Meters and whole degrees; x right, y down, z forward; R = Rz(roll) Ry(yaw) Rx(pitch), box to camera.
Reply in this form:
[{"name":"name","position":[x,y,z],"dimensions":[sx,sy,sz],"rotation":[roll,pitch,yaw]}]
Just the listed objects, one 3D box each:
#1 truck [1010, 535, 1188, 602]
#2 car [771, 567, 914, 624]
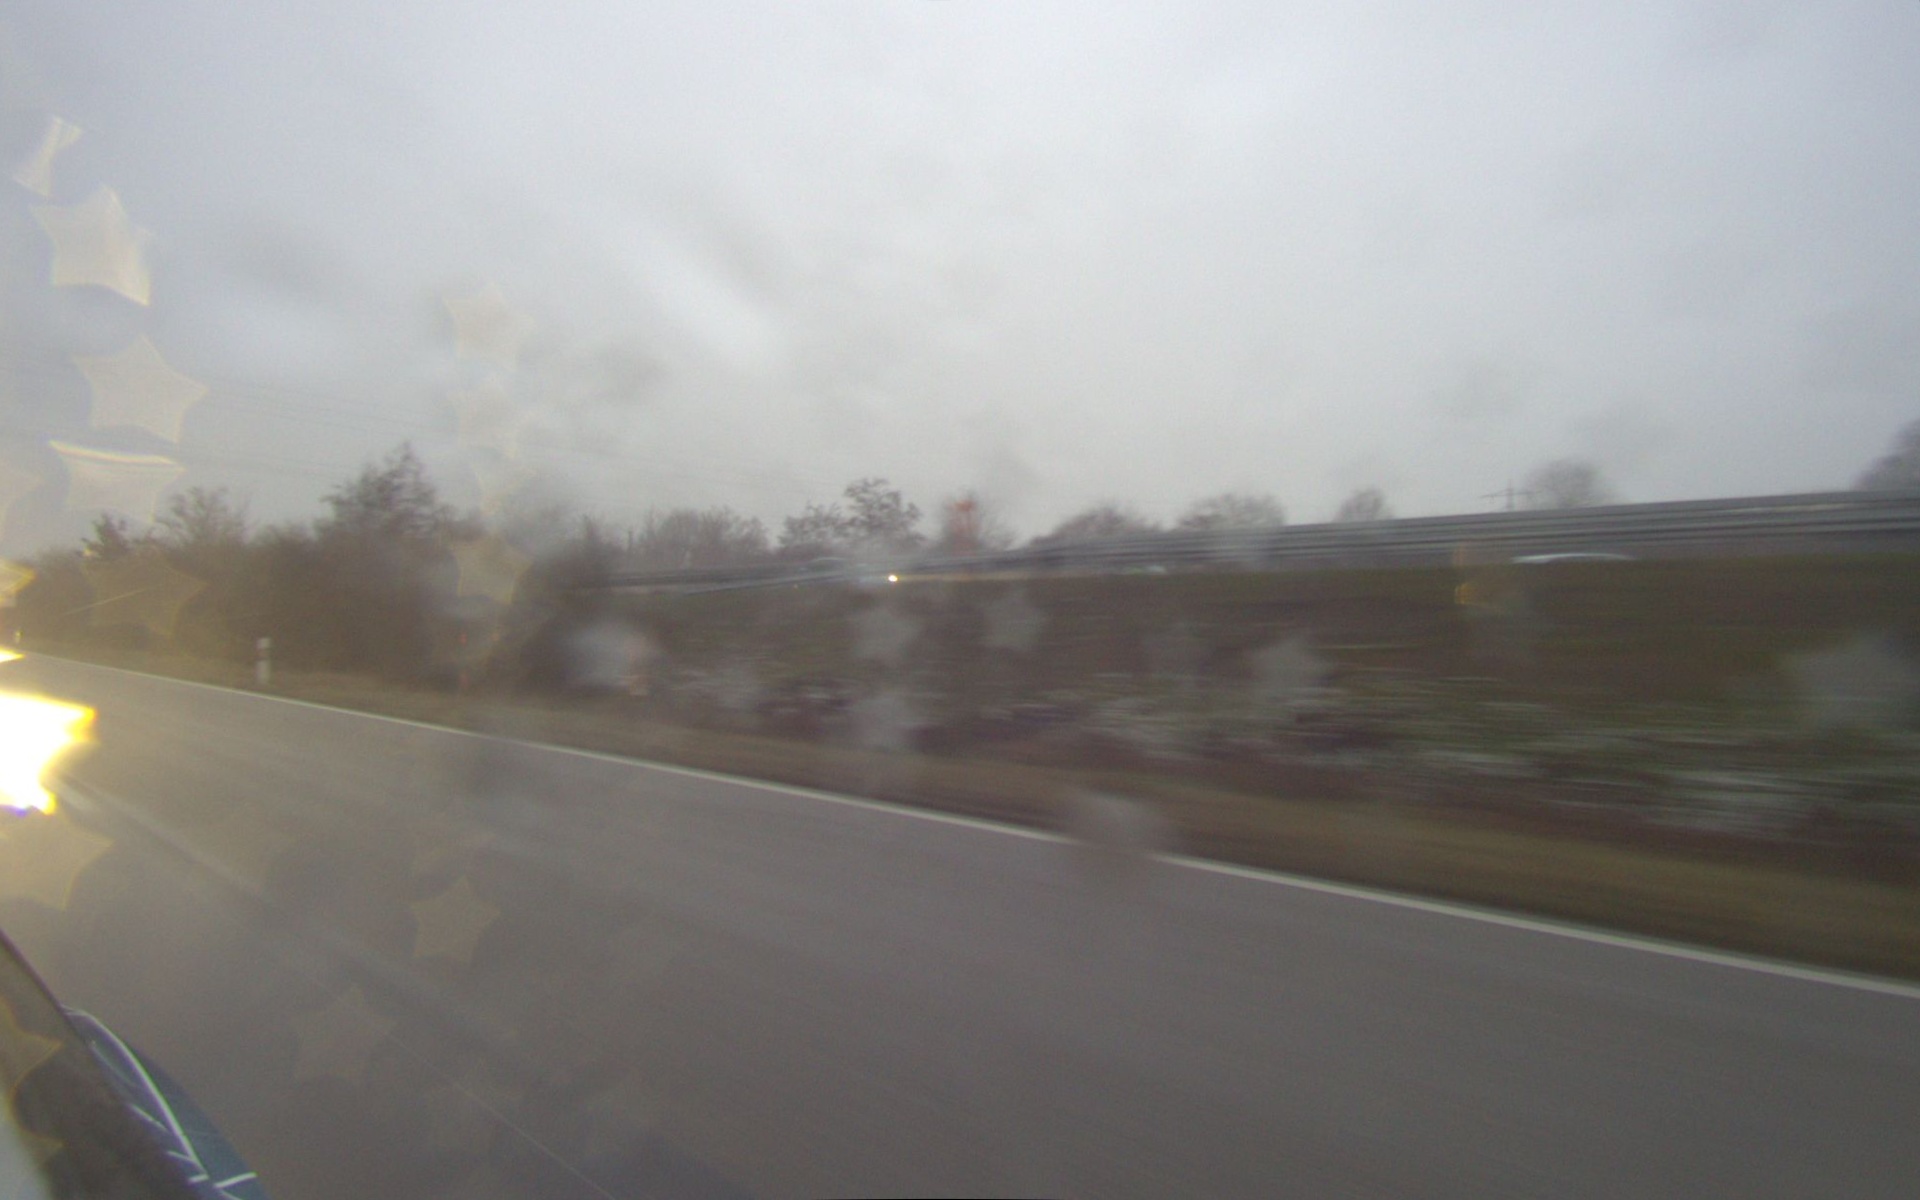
[{"name":"truck","position":[4.612,-0.981,34.191],"dimensions":[5.600,2.029,2.288],"rotation":[-1,0,40]},{"name":"car","position":[-4.602,-0.140,39.092],"dimensions":[5.600,2.029,2.288],"rotation":[-1,0,40]}]
